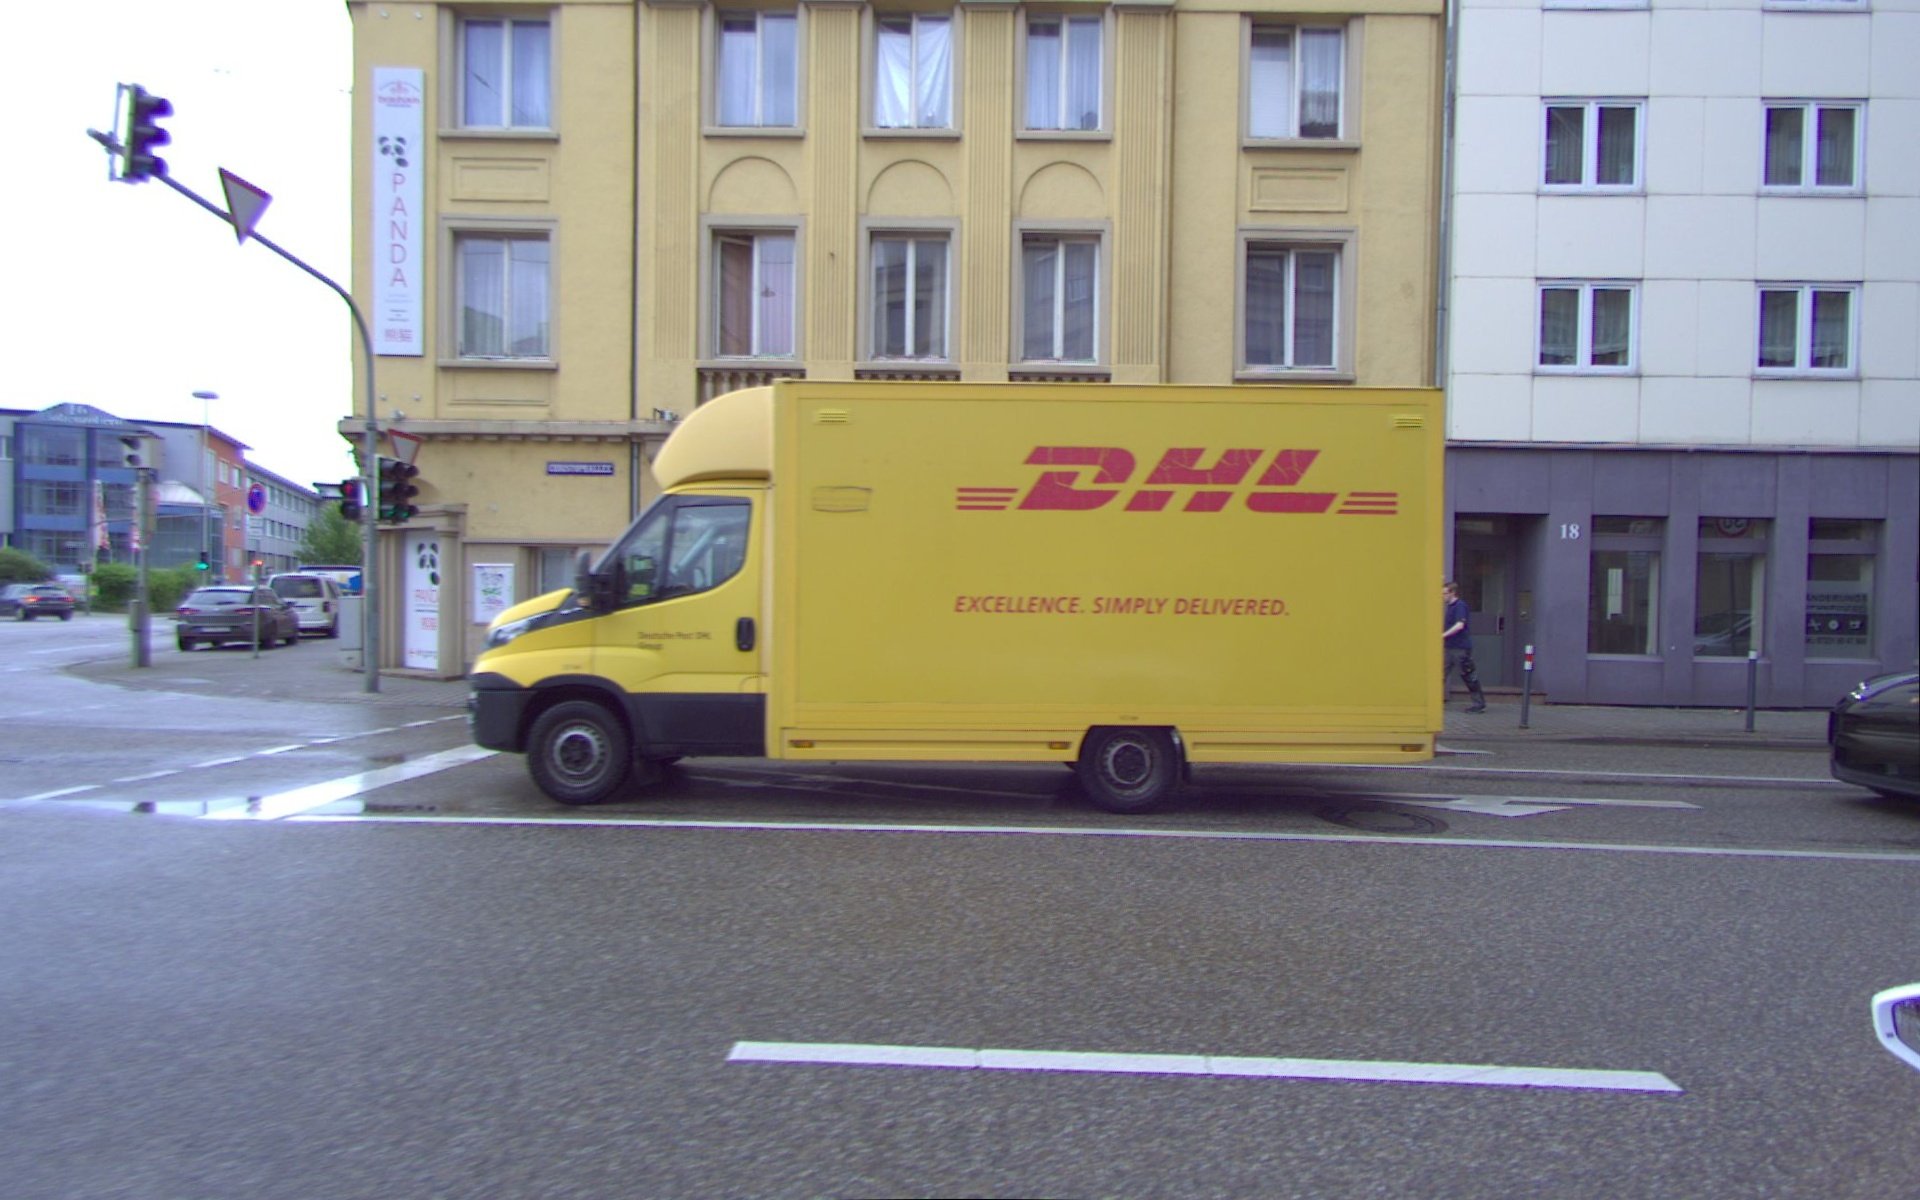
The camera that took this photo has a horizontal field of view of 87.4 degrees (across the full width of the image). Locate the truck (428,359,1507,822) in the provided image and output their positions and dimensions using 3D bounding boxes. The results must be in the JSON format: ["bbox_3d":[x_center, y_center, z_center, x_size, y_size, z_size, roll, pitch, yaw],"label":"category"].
[{"bbox_3d":[0.067,-0.042,7.591,6.886,2.787,2.235,2,0,-1],"label":"truck"}]

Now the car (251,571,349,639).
[{"bbox_3d":[-19.118,0.138,29.264,1.930,1.822,3.971,2,0,-28],"label":"car"}]

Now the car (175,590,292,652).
[{"bbox_3d":[-16.689,0.432,23.242,1.596,1.305,3.971,1,0,-27],"label":"car"}]

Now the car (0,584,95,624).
[{"bbox_3d":[-39.352,0.157,43.228,4.983,1.605,2.288,1,0,38],"label":"car"}]

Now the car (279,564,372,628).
[{"bbox_3d":[-21.988,-0.126,35.028,2.269,2.031,5.026,2,0,-27],"label":"car"}]

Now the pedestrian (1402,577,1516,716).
[{"bbox_3d":[6.840,0.611,13.819,1.012,1.795,0.895,2,4,-1],"label":"pedestrian"}]

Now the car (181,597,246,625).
[{"bbox_3d":[-45.909,0.652,61.900,2.268,1.605,5.028,2,0,-26],"label":"car"}]

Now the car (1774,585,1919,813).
[{"bbox_3d":[9.047,0.763,7.392,4.514,1.604,1.949,2,0,0],"label":"car"}]
